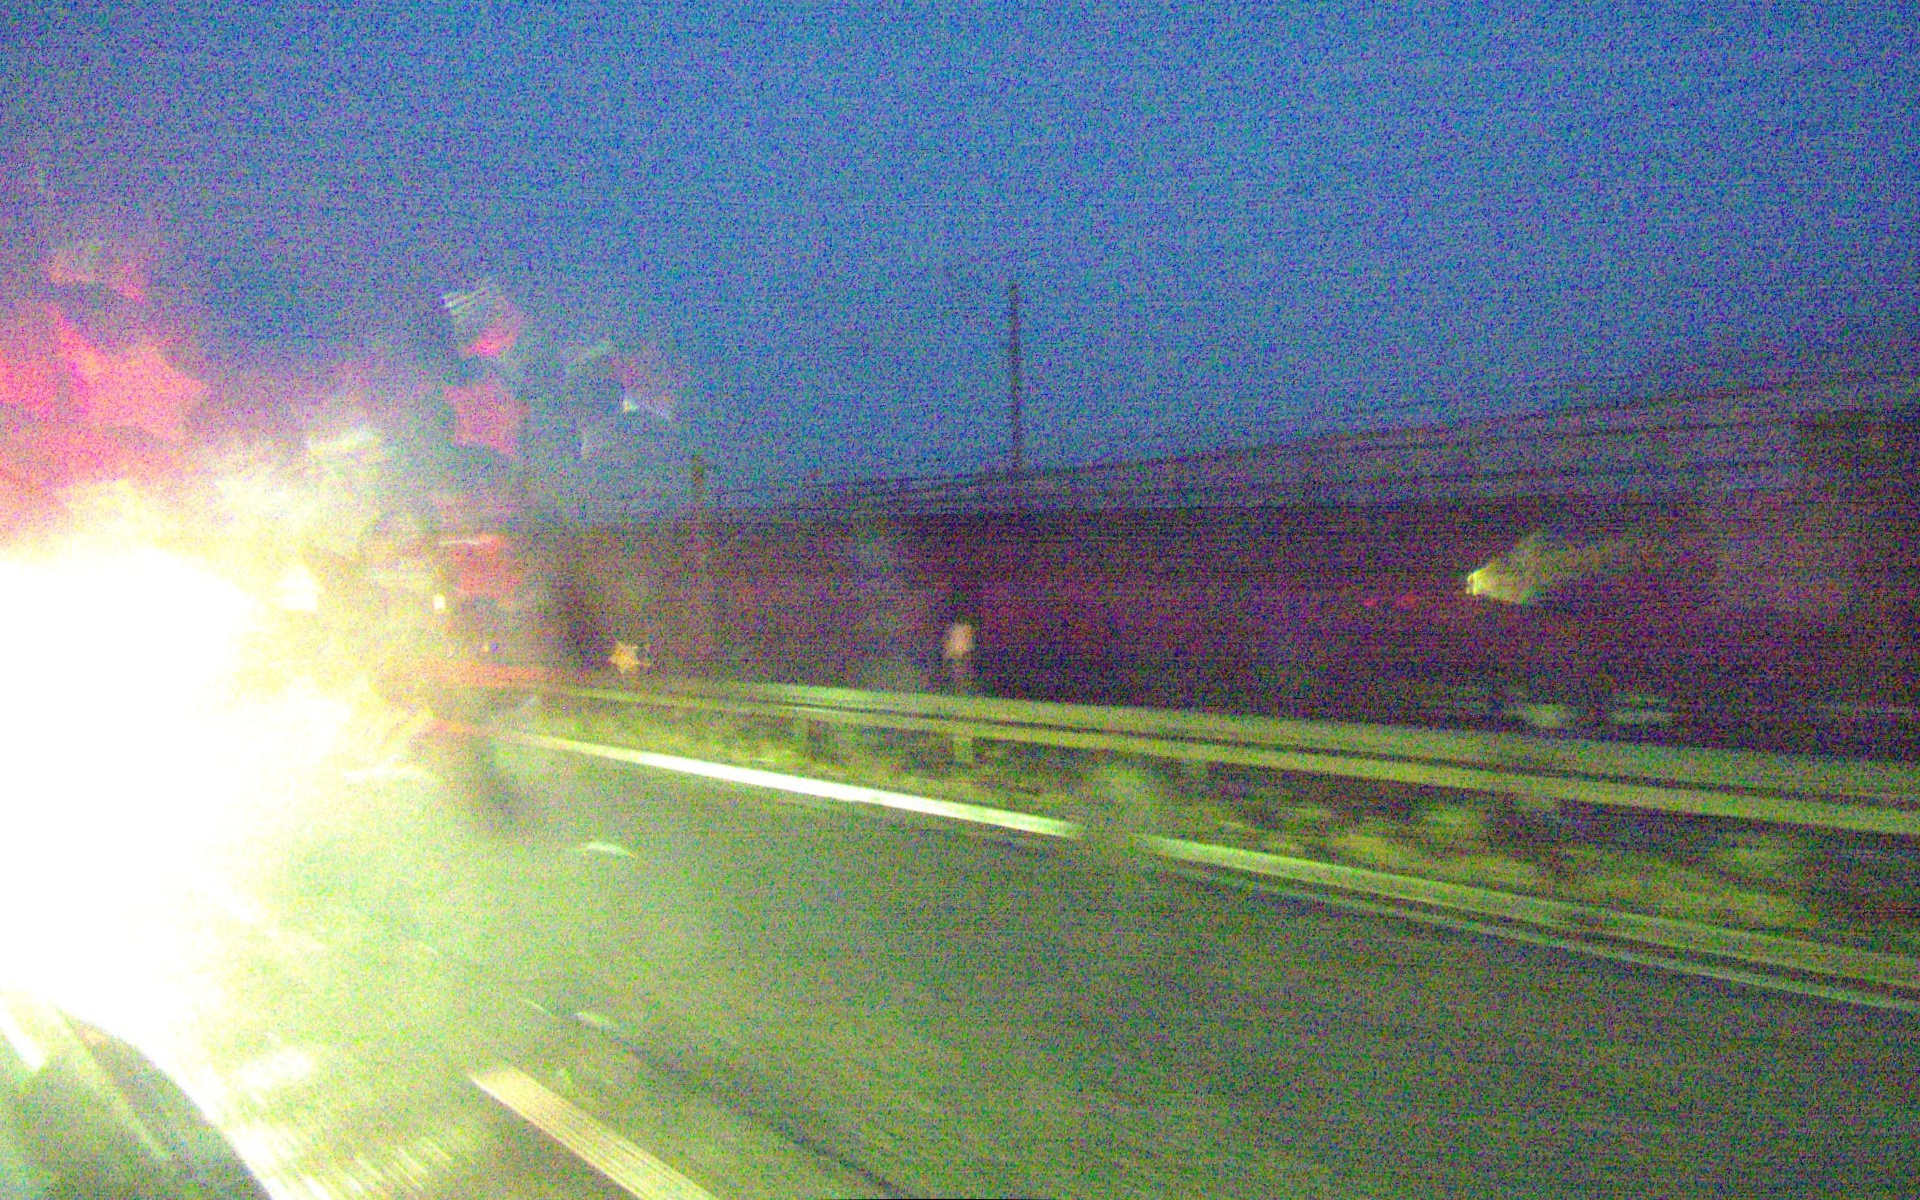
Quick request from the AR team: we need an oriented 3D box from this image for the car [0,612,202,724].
[{"bbox_3d":[-13.856,0.979,16.175,4.272,1.481,1.884,-1,1,41],"label":"car"}]
